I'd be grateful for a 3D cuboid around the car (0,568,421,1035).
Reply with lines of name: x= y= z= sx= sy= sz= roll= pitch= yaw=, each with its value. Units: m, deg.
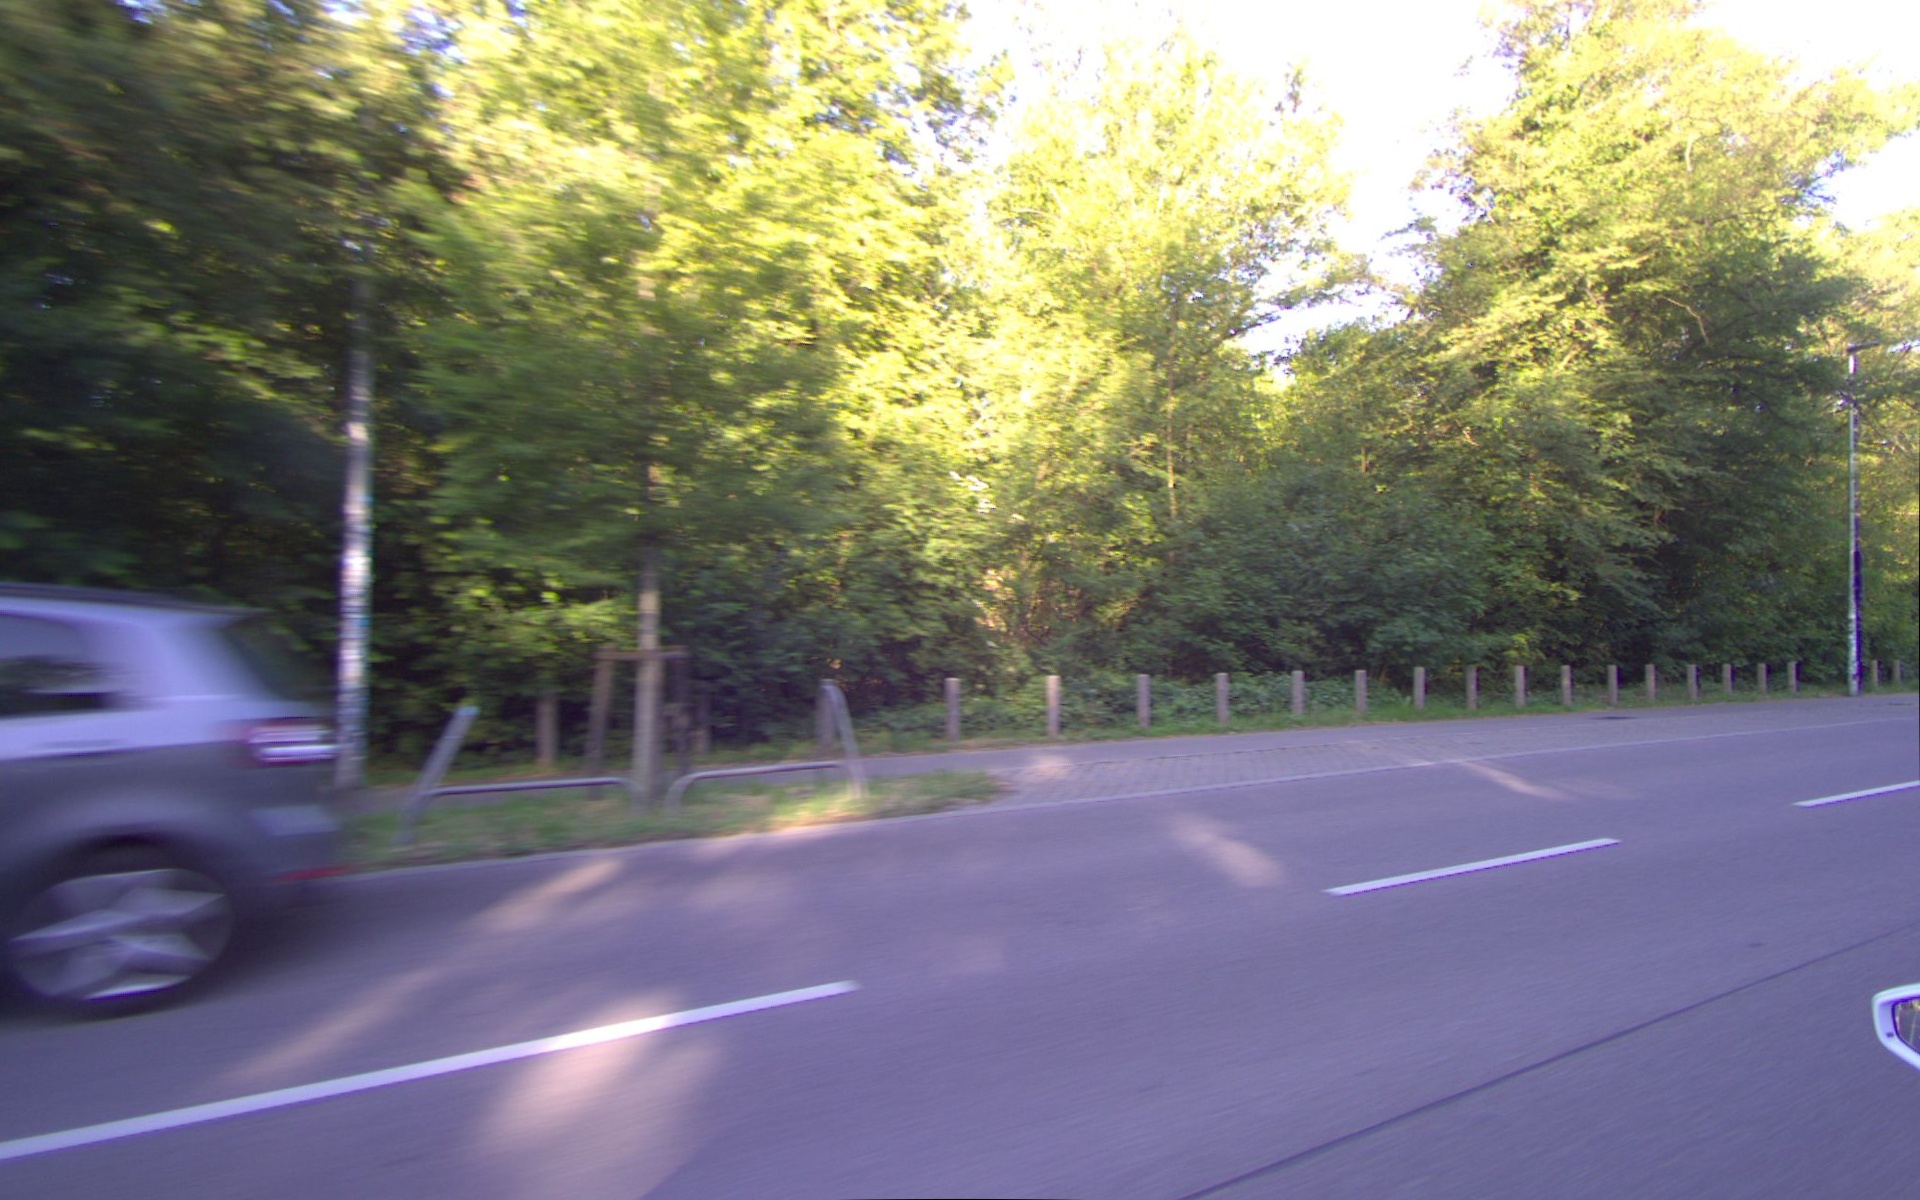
car: x=-4.379 y=0.689 z=3.889 sx=3.954 sy=1.621 sz=1.791 roll=1 pitch=-1 yaw=-31
